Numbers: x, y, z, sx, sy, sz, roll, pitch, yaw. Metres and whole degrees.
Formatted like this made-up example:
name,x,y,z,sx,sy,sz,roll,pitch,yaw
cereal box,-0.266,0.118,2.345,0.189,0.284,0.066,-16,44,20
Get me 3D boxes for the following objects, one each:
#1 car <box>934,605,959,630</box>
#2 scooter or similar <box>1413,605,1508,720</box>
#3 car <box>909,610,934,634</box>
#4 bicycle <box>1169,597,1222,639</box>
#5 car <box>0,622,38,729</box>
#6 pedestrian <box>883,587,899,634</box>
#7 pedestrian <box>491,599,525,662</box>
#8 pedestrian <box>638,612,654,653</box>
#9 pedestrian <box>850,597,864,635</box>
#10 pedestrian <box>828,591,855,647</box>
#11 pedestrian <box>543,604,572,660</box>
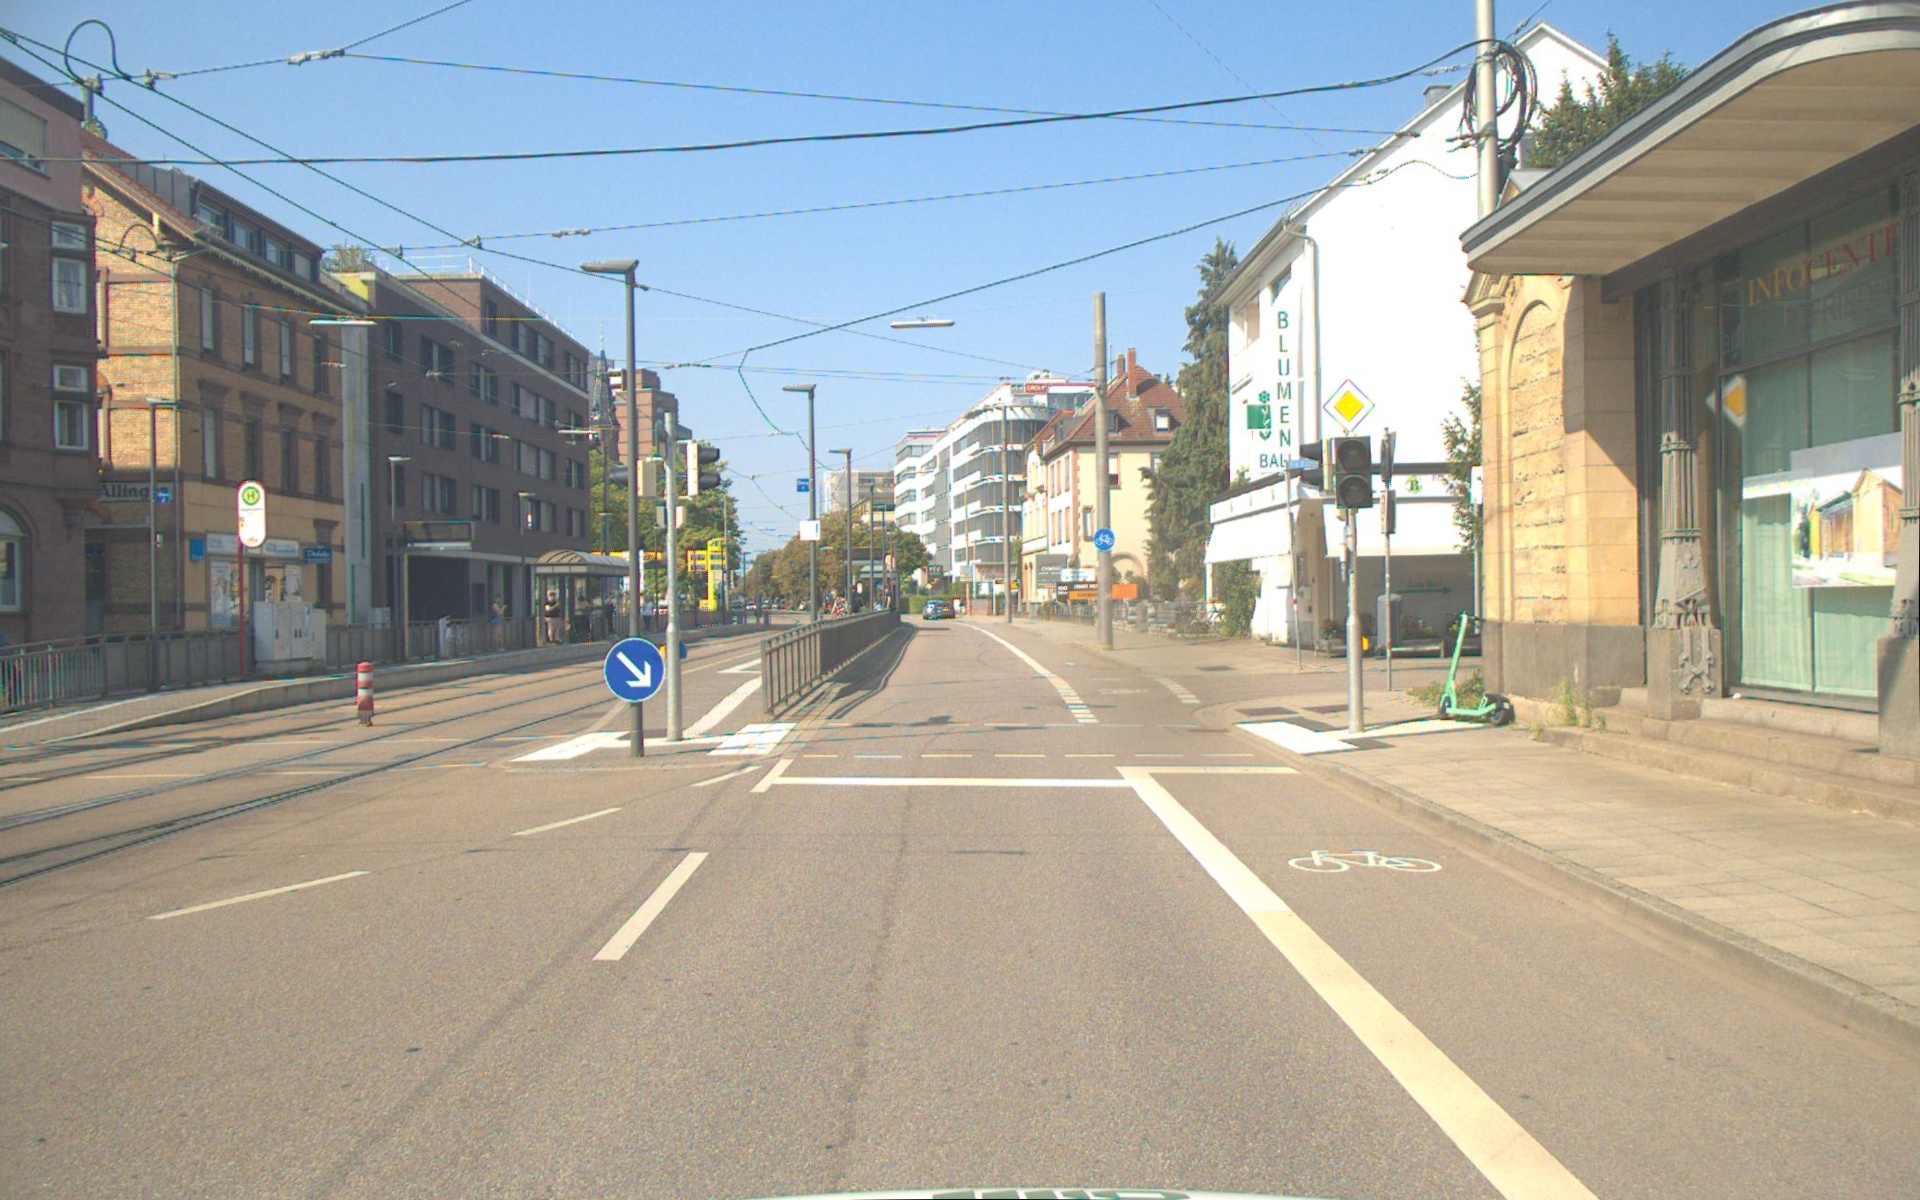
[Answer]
name,x,y,z,sx,sy,sz,roll,pitch,yaw
car,-1.115,1.453,138.474,1.970,1.891,4.000,-3,0,0
scooter or similar,5.373,0.650,17.825,0.512,1.153,1.511,-3,0,0
car,-3.335,1.915,144.559,1.970,1.891,4.000,-3,0,0
bicycle,6.874,0.534,48.397,0.717,1.152,2.834,-4,0,-8
car,-16.044,1.227,24.998,1.776,1.683,4.248,-2,0,0
pedestrian,-2.616,0.402,62.903,0.525,1.733,0.581,-3,-1,-3
pedestrian,-12.907,0.857,47.247,0.693,1.753,0.799,-3,-1,0
pedestrian,-12.451,1.288,65.561,0.522,1.556,0.700,-3,-1,-7
pedestrian,-4.734,0.749,76.093,0.525,1.733,0.581,-3,-1,-3
pedestrian,-3.800,0.616,53.034,0.705,1.733,0.884,-3,-1,0
pedestrian,-13.090,1.033,53.795,0.693,1.777,0.799,-3,-1,0
